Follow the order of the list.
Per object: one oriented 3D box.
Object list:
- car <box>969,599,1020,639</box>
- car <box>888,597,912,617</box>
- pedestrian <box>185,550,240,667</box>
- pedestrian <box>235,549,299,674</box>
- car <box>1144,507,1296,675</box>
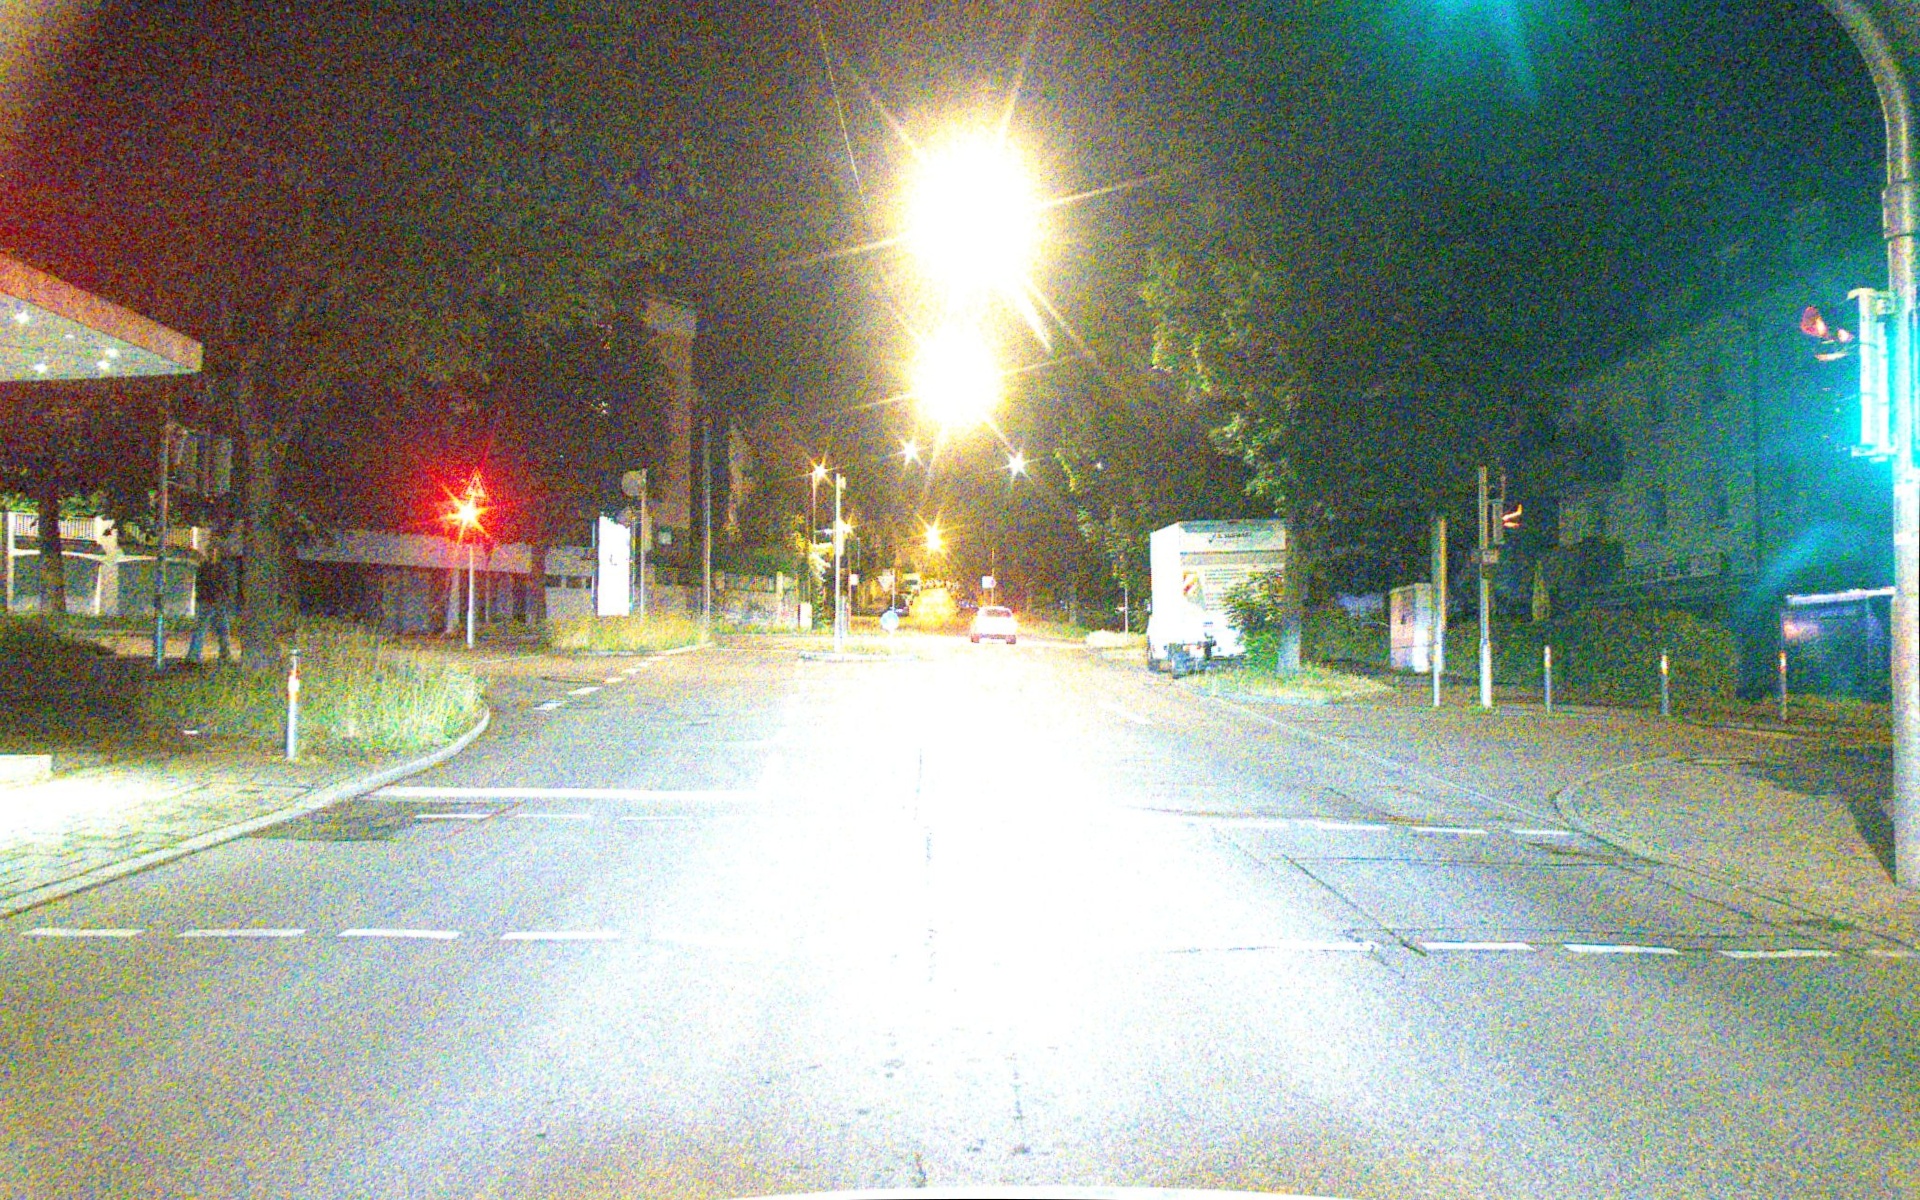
[{"bbox_3d":[1.334,0.728,65.748,1.740,1.512,3.997,1,0,-3],"label":"car"},{"bbox_3d":[-4.843,0.544,134.305,1.869,1.585,3.903,1,0,-1],"label":"car"},{"bbox_3d":[-11.425,0.132,25.284,0.558,1.761,0.543,1,-1,-1],"label":"pedestrian"},{"bbox_3d":[-10.236,0.169,24.450,0.558,1.808,0.737,3,-1,-1],"label":"pedestrian"},{"bbox_3d":[5.252,-0.173,34.307,2.249,3.147,5.840,-1,0,1],"label":"car"}]
